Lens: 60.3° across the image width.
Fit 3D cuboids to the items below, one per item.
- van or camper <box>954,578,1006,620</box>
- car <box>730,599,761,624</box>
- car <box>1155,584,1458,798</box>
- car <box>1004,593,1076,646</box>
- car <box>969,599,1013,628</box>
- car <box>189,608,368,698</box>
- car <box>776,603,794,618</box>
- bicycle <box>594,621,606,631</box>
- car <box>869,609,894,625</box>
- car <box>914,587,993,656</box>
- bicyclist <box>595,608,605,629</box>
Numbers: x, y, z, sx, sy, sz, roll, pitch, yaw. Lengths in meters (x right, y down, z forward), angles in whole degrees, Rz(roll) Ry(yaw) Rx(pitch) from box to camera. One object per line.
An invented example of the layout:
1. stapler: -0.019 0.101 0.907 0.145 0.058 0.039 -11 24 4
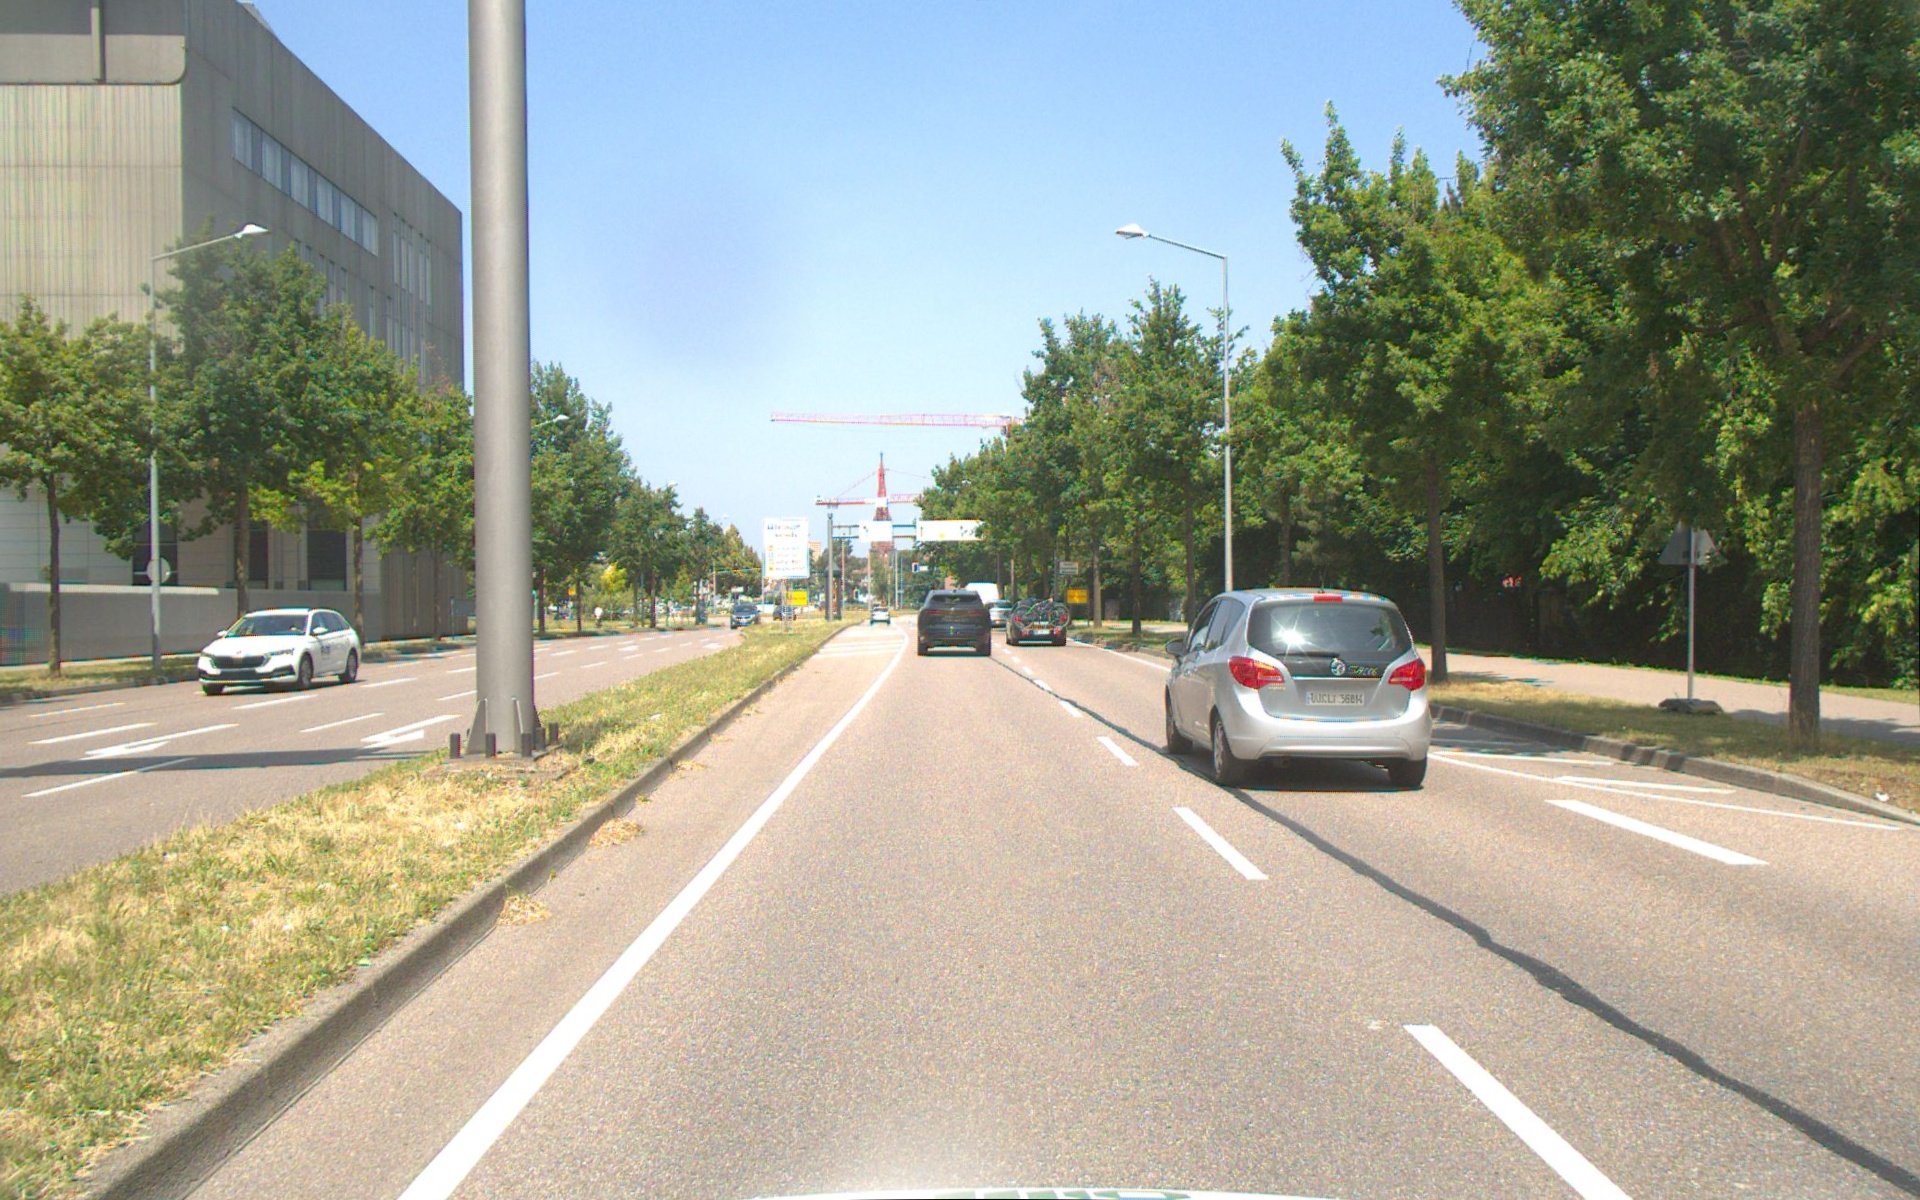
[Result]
1. van or camper: 1.140 -0.023 96.001 2.445 2.331 4.915 -1 0 -6
2. car: -13.383 0.697 103.188 1.674 1.497 3.937 -2 0 -5
3. car: 2.899 0.698 14.674 1.756 1.640 3.889 0 0 -2
4. car: 2.477 0.603 52.236 1.973 1.544 4.460 -1 0 -1
5. car: 1.522 0.671 82.911 1.623 1.380 4.454 -1 0 -6
6. car: -12.574 0.930 30.820 1.775 1.452 4.354 -2 0 -5
7. car: -19.840 1.205 187.482 1.856 1.639 4.530 -1 0 -5
8. bicycle: -26.894 1.948 123.532 0.471 0.728 1.850 -1 -1 0
9. car: -6.964 1.459 146.172 1.956 1.344 3.994 -1 0 -7
10. car: -0.197 0.541 43.223 1.957 1.719 4.032 0 0 -1
11. bicyclist: -26.908 1.384 123.634 0.610 1.515 0.757 -1 -1 0
